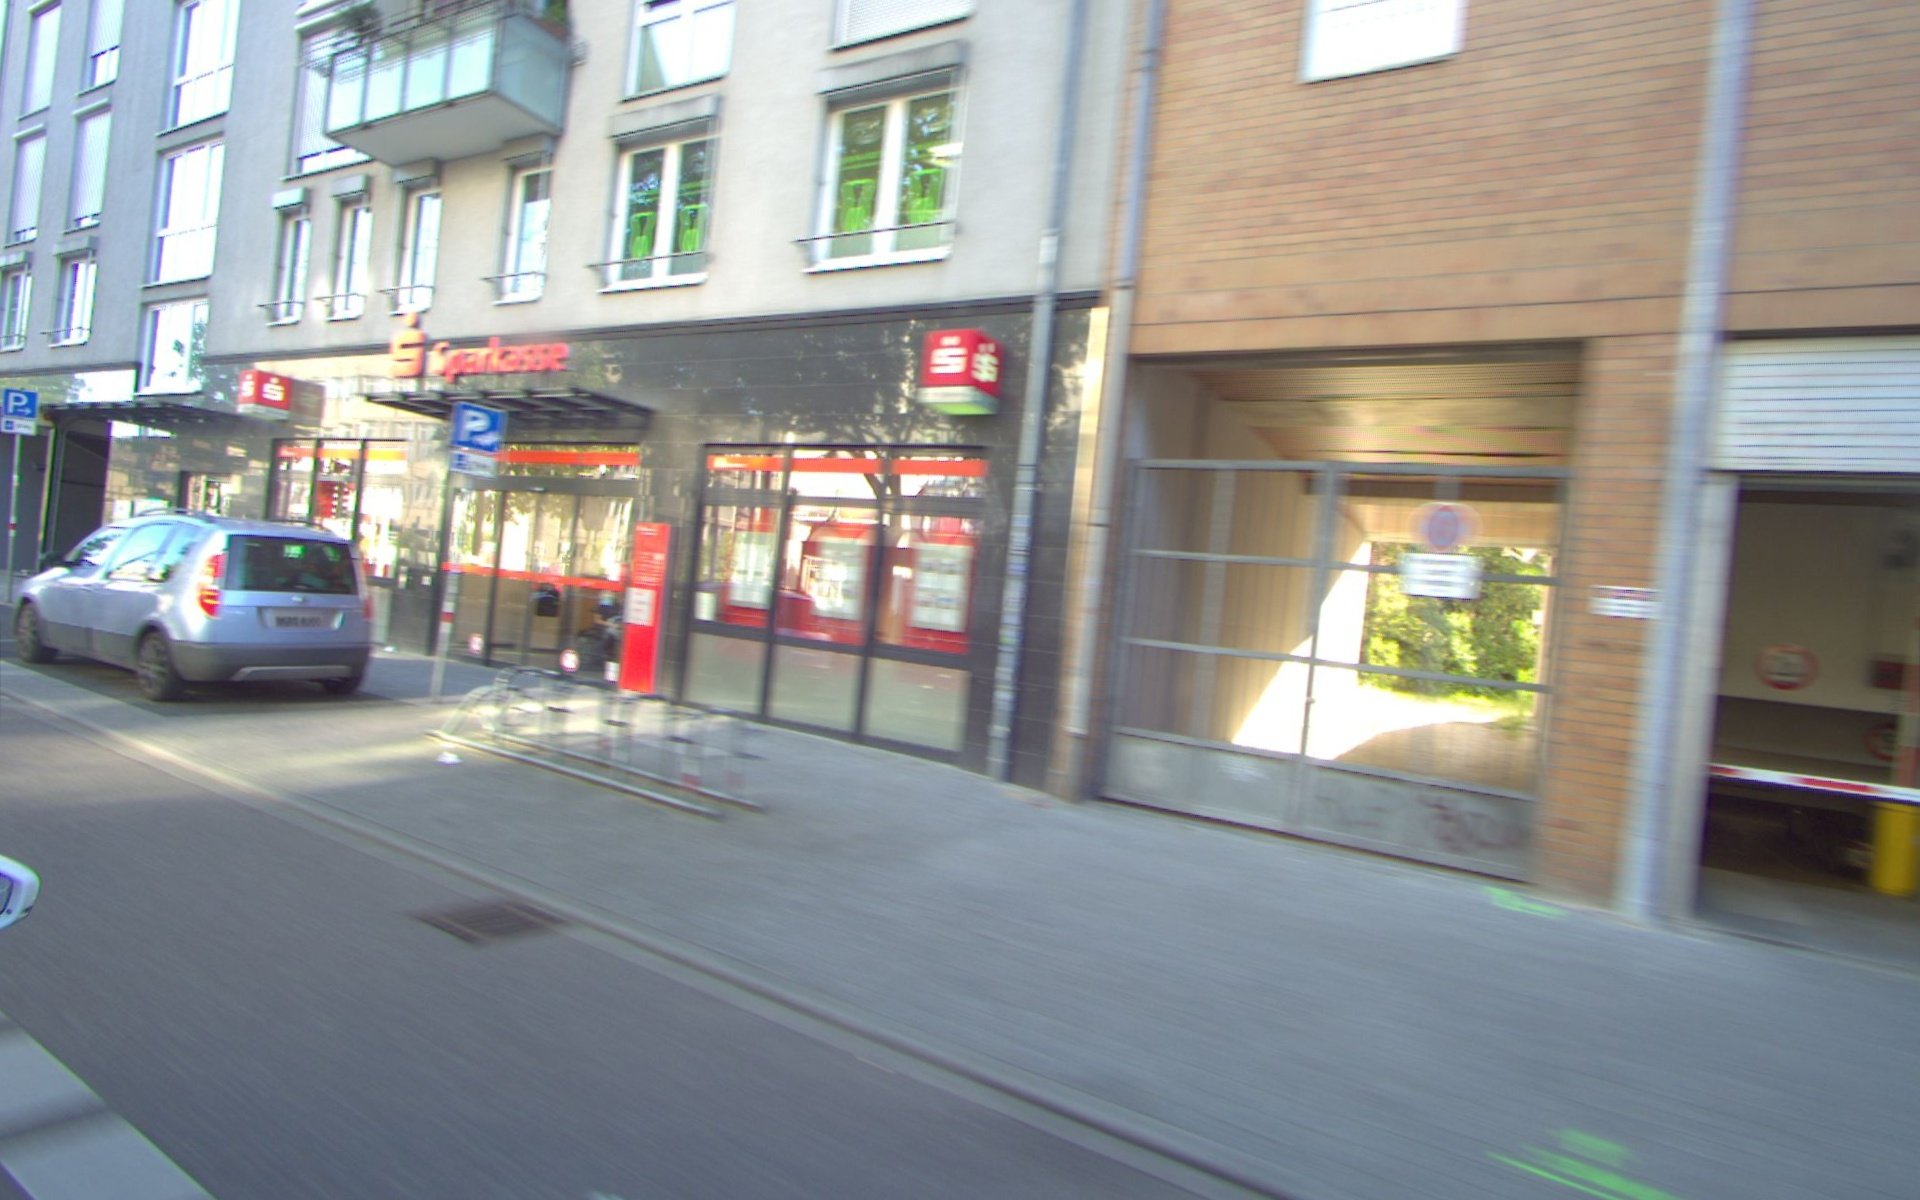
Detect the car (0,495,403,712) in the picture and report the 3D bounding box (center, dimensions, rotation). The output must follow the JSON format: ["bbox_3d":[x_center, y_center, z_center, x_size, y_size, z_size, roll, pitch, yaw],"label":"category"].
[{"bbox_3d":[-7.539,-0.059,9.773,4.214,1.644,1.833,5,1,31],"label":"car"}]
